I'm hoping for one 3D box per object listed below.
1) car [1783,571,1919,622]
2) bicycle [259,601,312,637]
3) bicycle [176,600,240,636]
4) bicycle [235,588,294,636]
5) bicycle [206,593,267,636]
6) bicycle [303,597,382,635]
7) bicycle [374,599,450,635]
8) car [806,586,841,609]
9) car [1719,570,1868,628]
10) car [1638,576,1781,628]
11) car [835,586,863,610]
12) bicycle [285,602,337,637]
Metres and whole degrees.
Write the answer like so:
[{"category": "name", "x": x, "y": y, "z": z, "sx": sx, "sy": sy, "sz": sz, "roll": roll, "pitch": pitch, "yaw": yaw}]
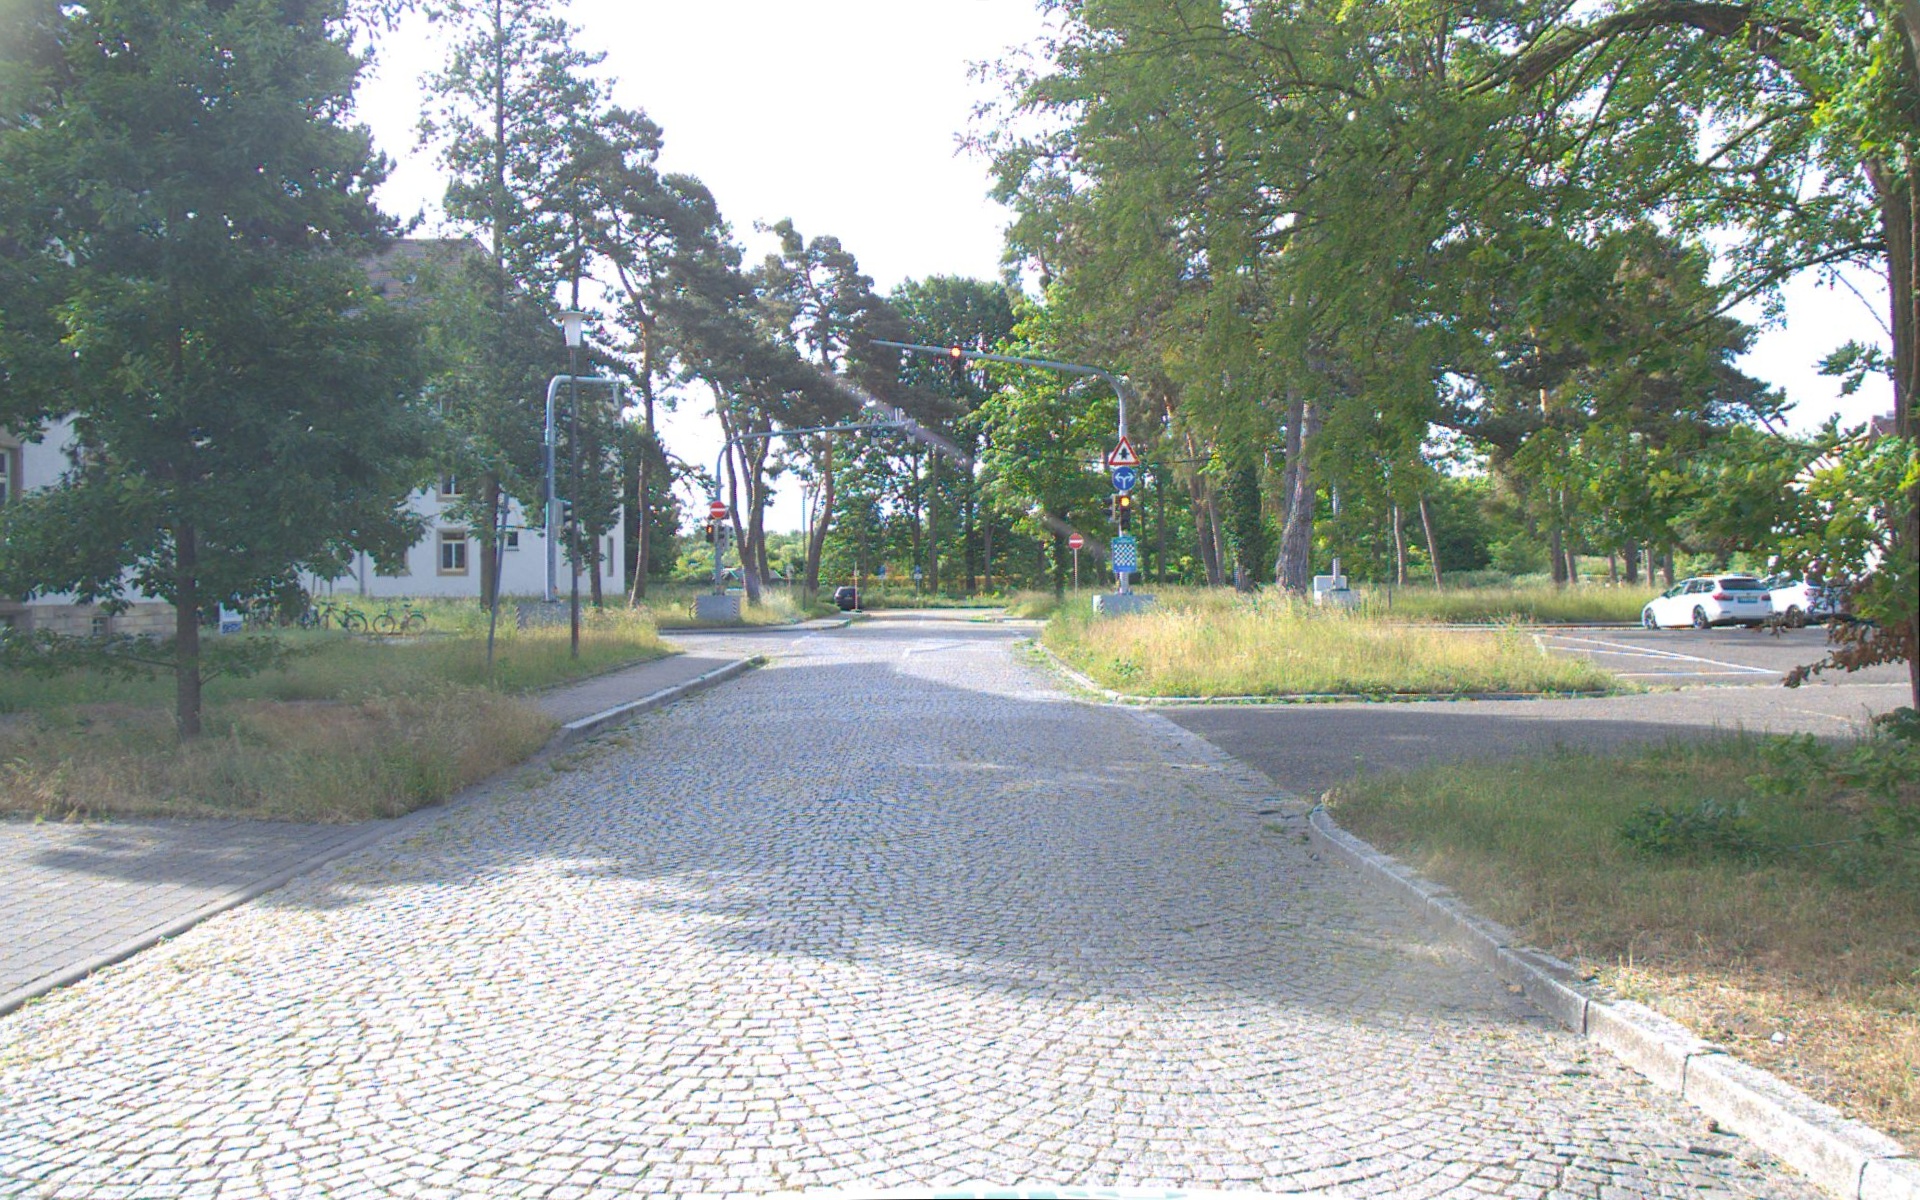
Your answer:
[{"category": "car", "x": 24.996, "y": -0.113, "z": 46.094, "sx": 1.697, "sy": 1.335, "sz": 4.328, "roll": -1, "pitch": 1, "yaw": -4}, {"category": "bicycle", "x": -21.131, "y": 0.584, "z": 51.869, "sx": 0.809, "sy": 1.065, "sz": 2.123, "roll": -1, "pitch": 0, "yaw": -1}, {"category": "bicycle", "x": -23.551, "y": 0.549, "z": 51.856, "sx": 0.882, "sy": 1.065, "sz": 2.553, "roll": -1, "pitch": 0, "yaw": -1}, {"category": "bicycle", "x": -21.914, "y": 0.359, "z": 52.192, "sx": 0.809, "sy": 1.462, "sz": 2.553, "roll": -1, "pitch": 0, "yaw": -1}, {"category": "bicycle", "x": -22.667, "y": 0.443, "z": 51.875, "sx": 0.809, "sy": 1.303, "sz": 2.553, "roll": -1, "pitch": 0, "yaw": -1}, {"category": "bicycle", "x": -18.918, "y": 0.492, "z": 50.707, "sx": 2.075, "sy": 1.128, "sz": 0.828, "roll": -1, "pitch": 0, "yaw": -4}, {"category": "bicycle", "x": -16.836, "y": 0.518, "z": 50.847, "sx": 2.075, "sy": 1.065, "sz": 0.828, "roll": -1, "pitch": 0, "yaw": -4}, {"category": "car", "x": -9.325, "y": -0.203, "z": 113.218, "sx": 1.745, "sy": 1.516, "sz": 3.758, "roll": -1, "pitch": 0, "yaw": 6}, {"category": "car", "x": 22.918, "y": -0.039, "z": 45.685, "sx": 1.697, "sy": 1.502, "sz": 4.328, "roll": -1, "pitch": 0, "yaw": -4}, {"category": "car", "x": 20.452, "y": 0.018, "z": 45.326, "sx": 1.697, "sy": 1.335, "sz": 4.328, "roll": -1, "pitch": 1, "yaw": -4}, {"category": "car", "x": -7.266, "y": -0.159, "z": 108.399, "sx": 1.808, "sy": 1.512, "sz": 3.998, "roll": -1, "pitch": 0, "yaw": -3}, {"category": "bicycle", "x": -20.364, "y": 0.595, "z": 51.928, "sx": 0.809, "sy": 1.065, "sz": 2.123, "roll": -1, "pitch": 0, "yaw": -1}]
